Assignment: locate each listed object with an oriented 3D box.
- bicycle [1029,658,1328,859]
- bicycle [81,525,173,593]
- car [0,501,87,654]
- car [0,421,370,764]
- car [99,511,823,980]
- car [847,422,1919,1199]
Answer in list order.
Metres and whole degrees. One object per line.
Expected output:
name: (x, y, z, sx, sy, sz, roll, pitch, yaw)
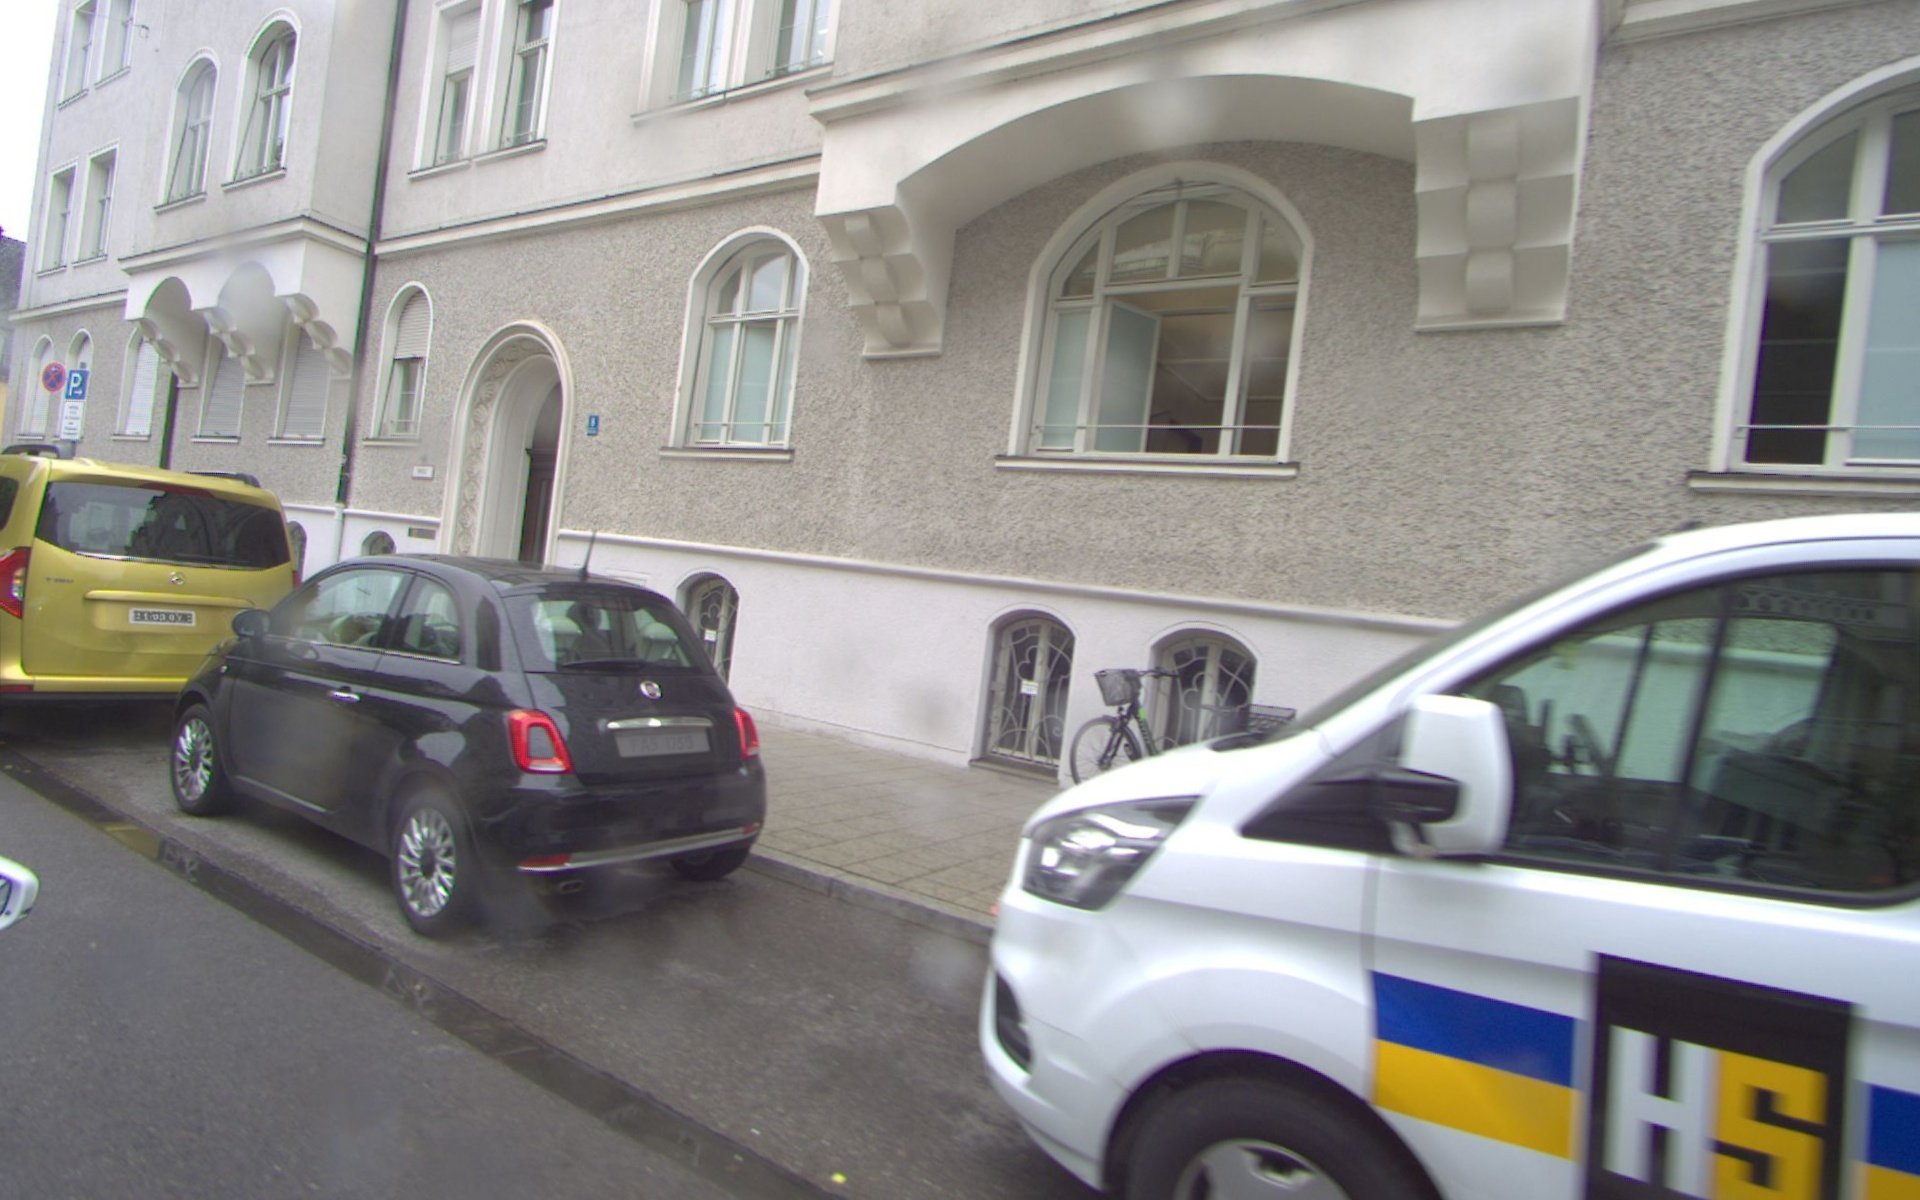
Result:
bicycle: (1.613, 1.118, 7.618, 2.003, 1.108, 0.694, 7, 2, 33)
bicycle: (-16.250, -0.807, 19.604, 2.245, 1.108, 0.694, 7, 2, 33)
car: (-11.160, -0.429, 10.760, 3.833, 1.475, 1.666, 7, -1, 33)
car: (-6.644, -0.179, 7.568, 4.744, 1.875, 1.852, 7, -1, 35)
car: (-2.738, 0.493, 5.272, 3.722, 1.502, 1.633, 7, -1, 33)
car: (2.415, 0.855, 2.123, 4.908, 1.961, 1.963, 7, 0, 30)
